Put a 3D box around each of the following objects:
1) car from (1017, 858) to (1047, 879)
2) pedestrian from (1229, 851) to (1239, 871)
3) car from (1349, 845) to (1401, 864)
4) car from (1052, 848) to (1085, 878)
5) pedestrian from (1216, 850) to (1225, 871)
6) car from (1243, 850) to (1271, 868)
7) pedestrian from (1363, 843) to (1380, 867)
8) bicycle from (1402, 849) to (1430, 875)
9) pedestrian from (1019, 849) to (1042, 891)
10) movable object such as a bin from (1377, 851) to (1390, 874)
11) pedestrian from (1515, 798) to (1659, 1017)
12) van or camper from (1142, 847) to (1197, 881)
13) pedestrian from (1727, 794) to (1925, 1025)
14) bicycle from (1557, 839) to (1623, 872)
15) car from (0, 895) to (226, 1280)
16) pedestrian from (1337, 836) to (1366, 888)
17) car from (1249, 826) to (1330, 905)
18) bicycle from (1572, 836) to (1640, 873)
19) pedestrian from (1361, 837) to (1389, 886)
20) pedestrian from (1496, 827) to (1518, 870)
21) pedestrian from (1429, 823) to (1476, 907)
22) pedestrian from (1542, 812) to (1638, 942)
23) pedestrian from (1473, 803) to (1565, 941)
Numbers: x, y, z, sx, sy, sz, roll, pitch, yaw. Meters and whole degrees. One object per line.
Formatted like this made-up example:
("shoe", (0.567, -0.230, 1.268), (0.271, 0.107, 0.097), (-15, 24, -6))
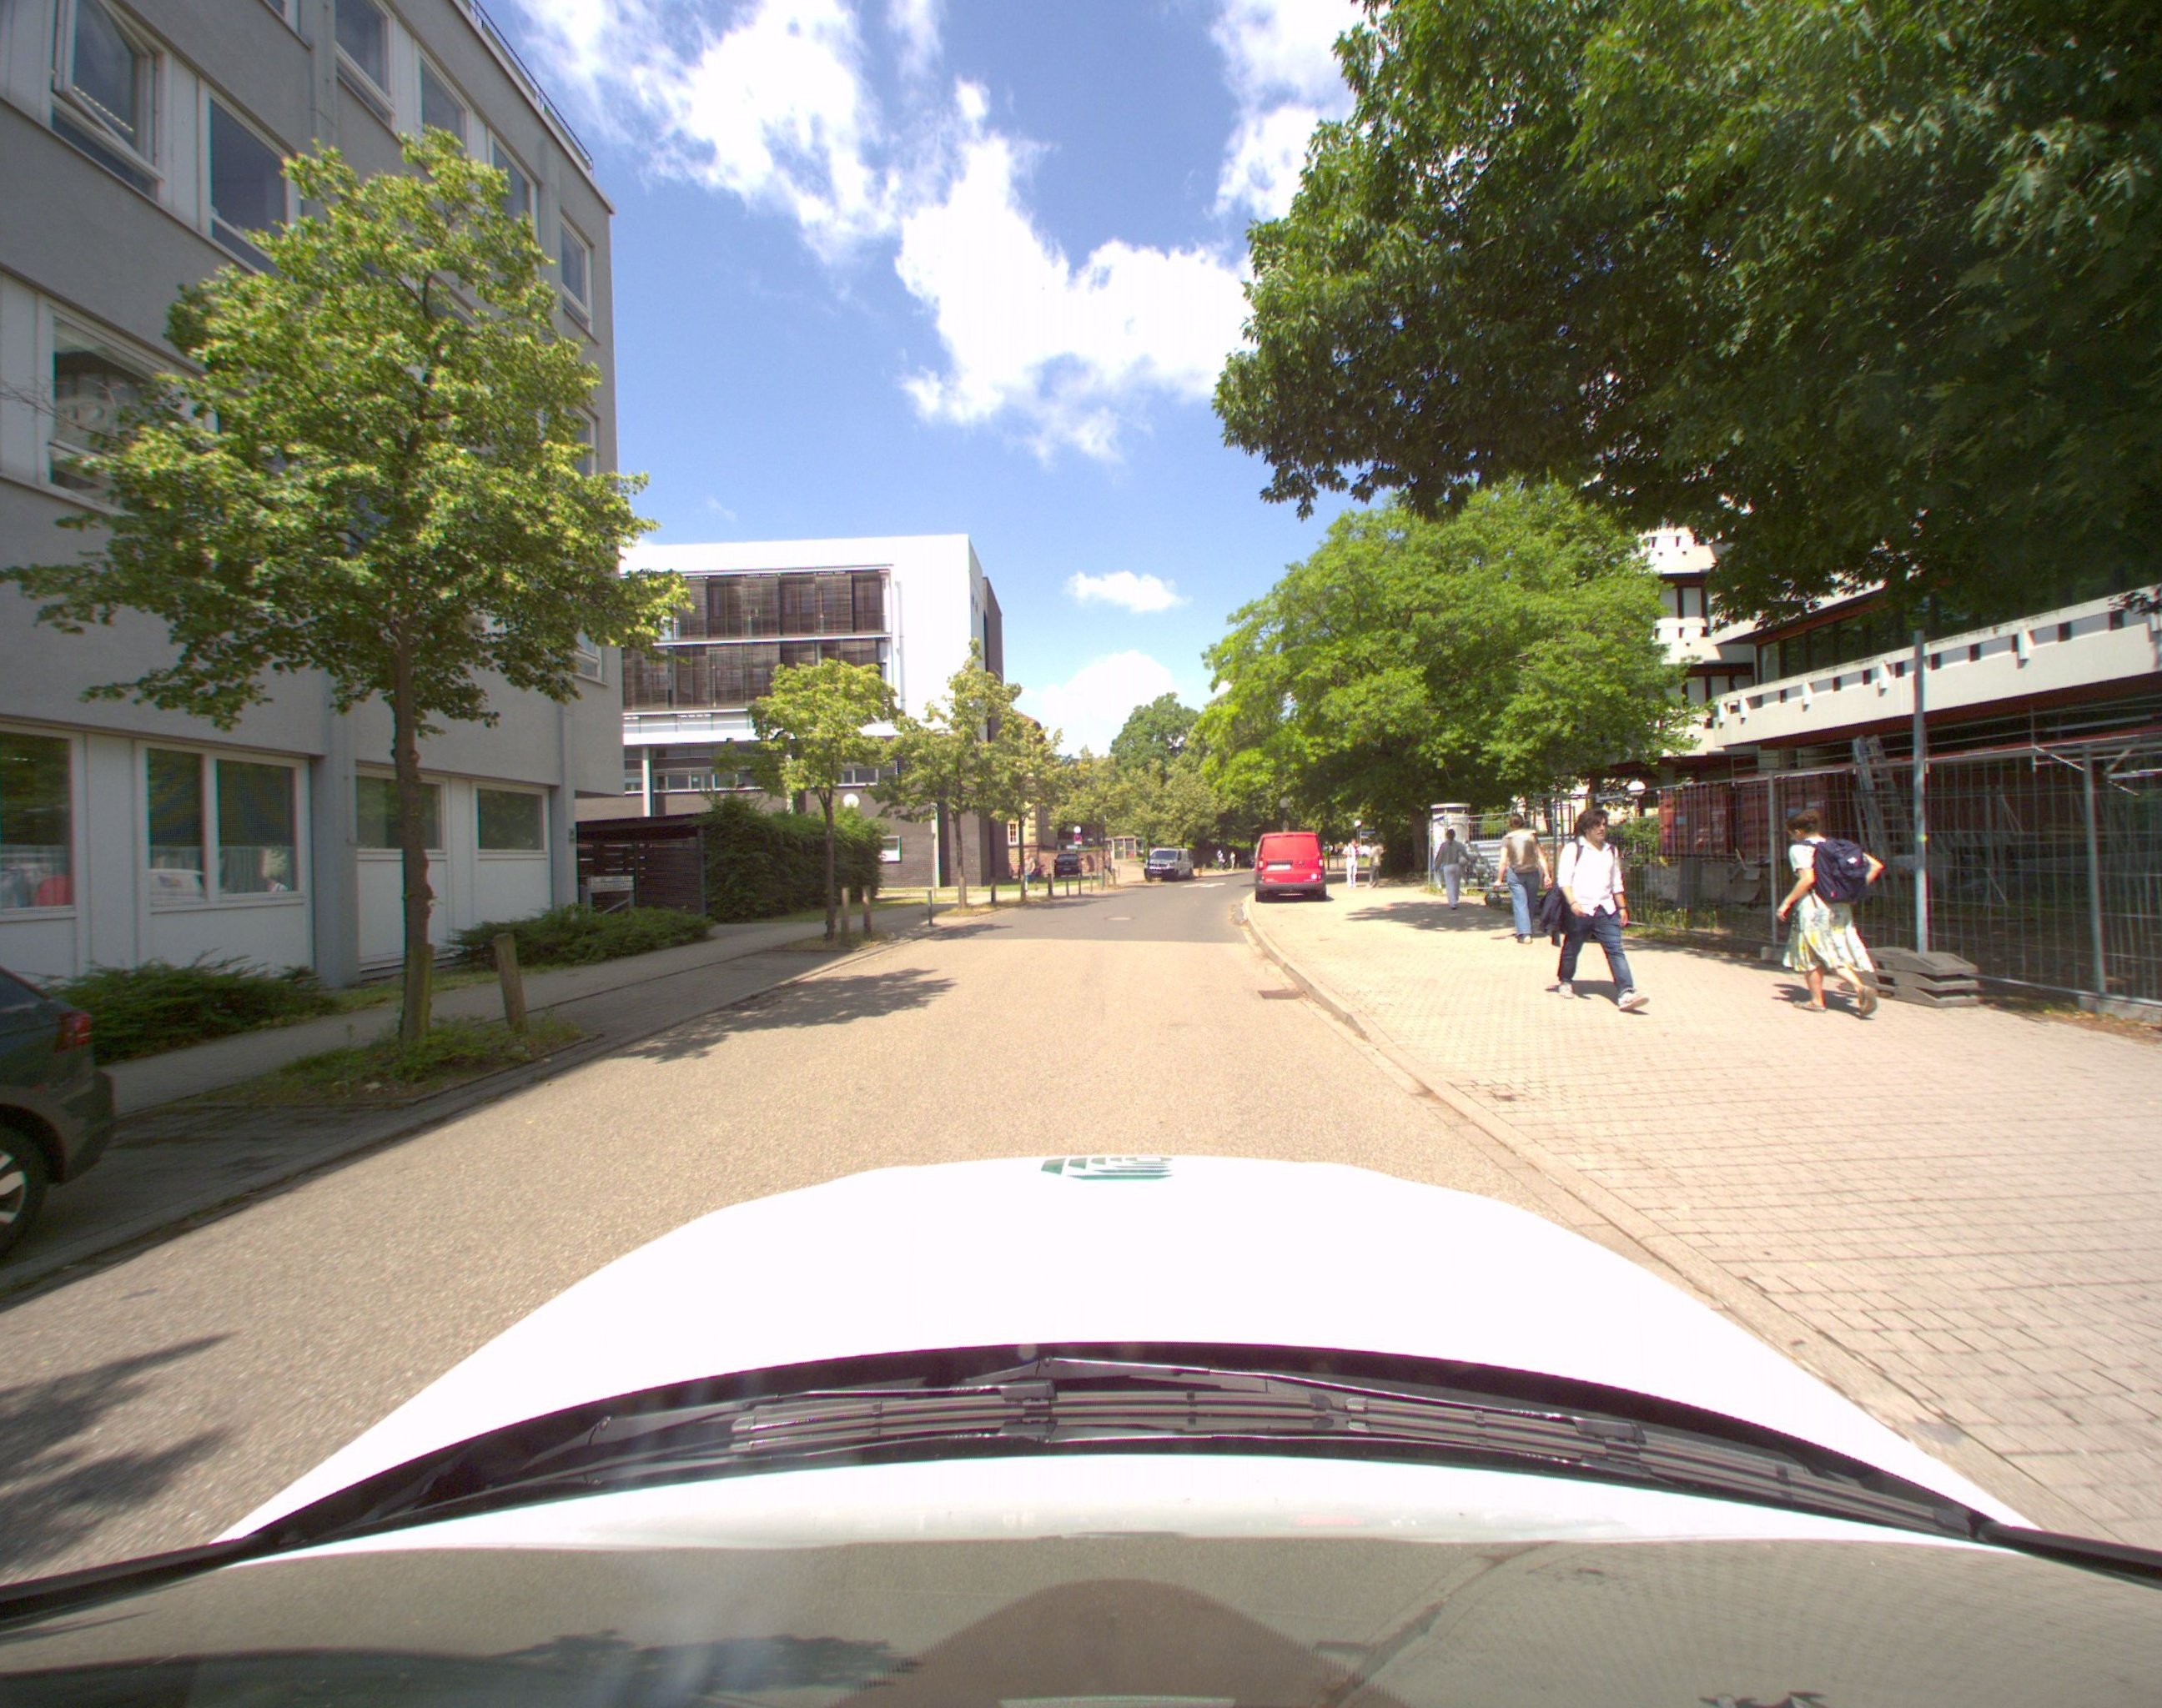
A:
("car", (-3.446, 1.002, 57.565), (1.811, 1.324, 3.767), (-2, 0, 0))
("pedestrian", (12.229, 0.574, 65.189), (0.588, 1.527, 0.489), (-1, -1, -35))
("car", (27.658, 0.049, 76.542), (4.445, 1.525, 1.820), (-3, -1, 23))
("car", (-0.884, 0.624, 57.574), (2.168, 1.926, 5.184), (-2, 0, -1))
("pedestrian", (11.318, 0.522, 66.141), (0.624, 1.663, 0.603), (-2, -1, 1))
("car", (15.967, 0.481, 73.926), (1.744, 1.522, 4.133), (-2, 0, 22))
("pedestrian", (22.836, 0.074, 64.072), (0.814, 1.754, 0.845), (-15, -5, 22))
("bicycle", (14.937, 0.349, 36.371), (0.615, 1.119, 1.875), (-2, -1, 7))
("pedestrian", (-2.157, 0.697, 34.999), (0.579, 1.764, 0.916), (-2, 0, 22))
("movable object such as a bin", (14.615, 0.412, 39.360), (0.486, 1.072, 0.506), (-2, -1, 8))
("pedestrian", (4.388, 0.439, 7.116), (0.693, 1.781, 0.786), (-2, 0, -2))
("van or camper", (5.420, 0.543, 49.247), (1.937, 1.923, 5.448), (-1, 0, 21))
("pedestrian", (5.837, 0.404, 6.438), (0.648, 1.666, 0.903), (-2, 0, -4))
("bicycle", (15.769, 0.052, 25.271), (0.514, 0.957, 1.797), (-3, -1, -18))
("car", (-5.102, 0.943, 1.874), (1.772, 1.461, 4.258), (-1, 0, -1))
("pedestrian", (9.820, 0.290, 29.587), (0.727, 1.821, 0.623), (-2, -1, -35))
("car", (5.650, 0.285, 22.556), (1.836, 1.891, 4.905), (-3, 0, 11))
("bicycle", (16.331, 0.048, 25.383), (0.500, 1.078, 1.797), (-3, -1, -18))
("pedestrian", (10.378, 0.259, 28.744), (0.748, 1.710, 0.558), (-2, -1, -35))
("pedestrian", (18.240, -0.227, 34.891), (0.540, 1.837, 0.763), (-2, -1, 8))
("pedestrian", (7.473, 0.221, 16.415), (0.707, 1.631, 0.714), (-2, -1, 16))
("pedestrian", (6.629, 0.288, 10.663), (0.665, 1.600, 0.987), (-2, 0, 8))
("pedestrian", (5.853, 0.236, 10.934), (0.844, 1.764, 0.718), (-3, 0, 10))
